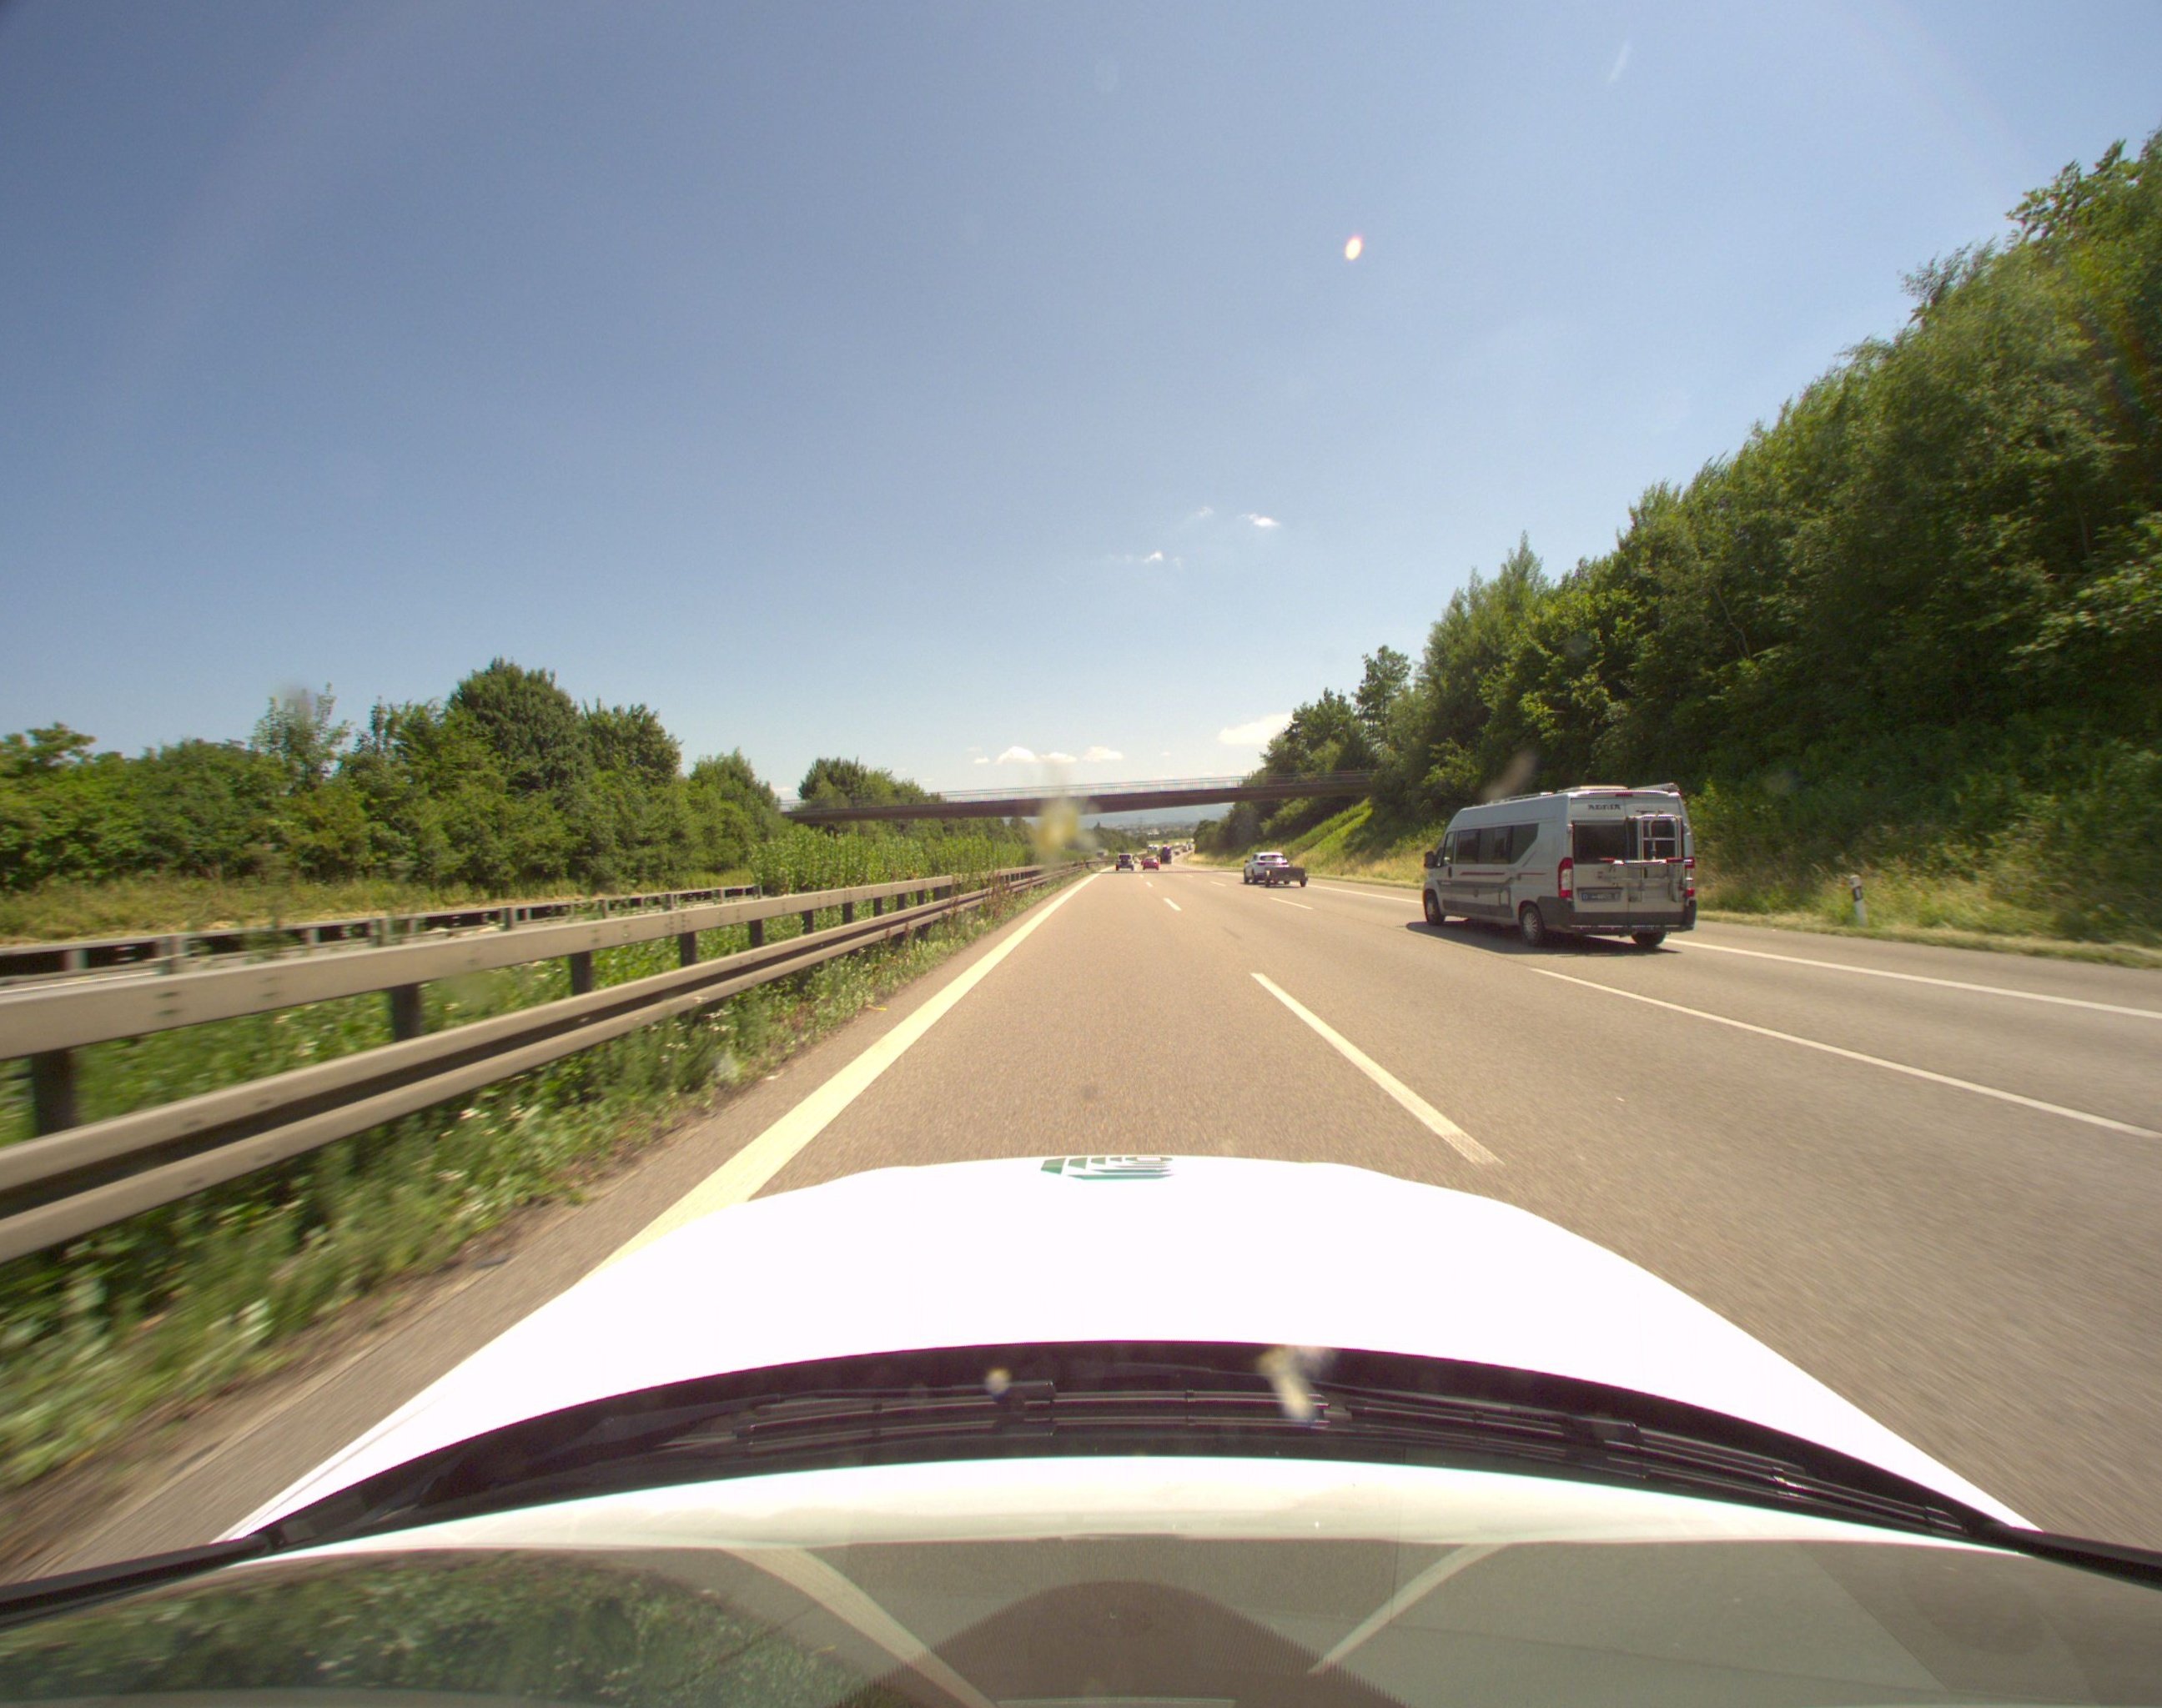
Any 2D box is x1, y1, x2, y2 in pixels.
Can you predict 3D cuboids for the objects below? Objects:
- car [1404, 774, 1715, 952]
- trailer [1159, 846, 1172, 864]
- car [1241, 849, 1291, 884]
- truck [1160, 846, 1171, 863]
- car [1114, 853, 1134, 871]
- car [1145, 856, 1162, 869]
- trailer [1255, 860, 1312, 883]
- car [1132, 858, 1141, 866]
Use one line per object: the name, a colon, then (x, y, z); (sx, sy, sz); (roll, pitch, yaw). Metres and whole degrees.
car: (8.265, 0.082, 15.146); (2.081, 2.576, 6.625); (-1, 1, 2)
trailer: (19.915, 0.085, 192.068); (2.840, 3.993, 15.424); (-1, 1, 6)
car: (9.669, 0.615, 42.902); (1.774, 1.650, 4.405); (-1, 1, 2)
truck: (20.678, 0.078, 199.729); (2.740, 3.852, 6.655); (-1, 1, 6)
car: (4.718, 0.844, 89.110); (2.075, 1.829, 4.757); (-1, 1, 3)
car: (8.259, 0.930, 93.552); (1.680, 1.378, 3.950); (-1, 1, 1)
trailer: (9.516, 0.803, 38.535); (1.747, 0.908, 4.322); (-1, 1, 2)
car: (14.596, 2.100, 213.630); (1.686, 2.013, 3.836); (-1, 1, 13)
